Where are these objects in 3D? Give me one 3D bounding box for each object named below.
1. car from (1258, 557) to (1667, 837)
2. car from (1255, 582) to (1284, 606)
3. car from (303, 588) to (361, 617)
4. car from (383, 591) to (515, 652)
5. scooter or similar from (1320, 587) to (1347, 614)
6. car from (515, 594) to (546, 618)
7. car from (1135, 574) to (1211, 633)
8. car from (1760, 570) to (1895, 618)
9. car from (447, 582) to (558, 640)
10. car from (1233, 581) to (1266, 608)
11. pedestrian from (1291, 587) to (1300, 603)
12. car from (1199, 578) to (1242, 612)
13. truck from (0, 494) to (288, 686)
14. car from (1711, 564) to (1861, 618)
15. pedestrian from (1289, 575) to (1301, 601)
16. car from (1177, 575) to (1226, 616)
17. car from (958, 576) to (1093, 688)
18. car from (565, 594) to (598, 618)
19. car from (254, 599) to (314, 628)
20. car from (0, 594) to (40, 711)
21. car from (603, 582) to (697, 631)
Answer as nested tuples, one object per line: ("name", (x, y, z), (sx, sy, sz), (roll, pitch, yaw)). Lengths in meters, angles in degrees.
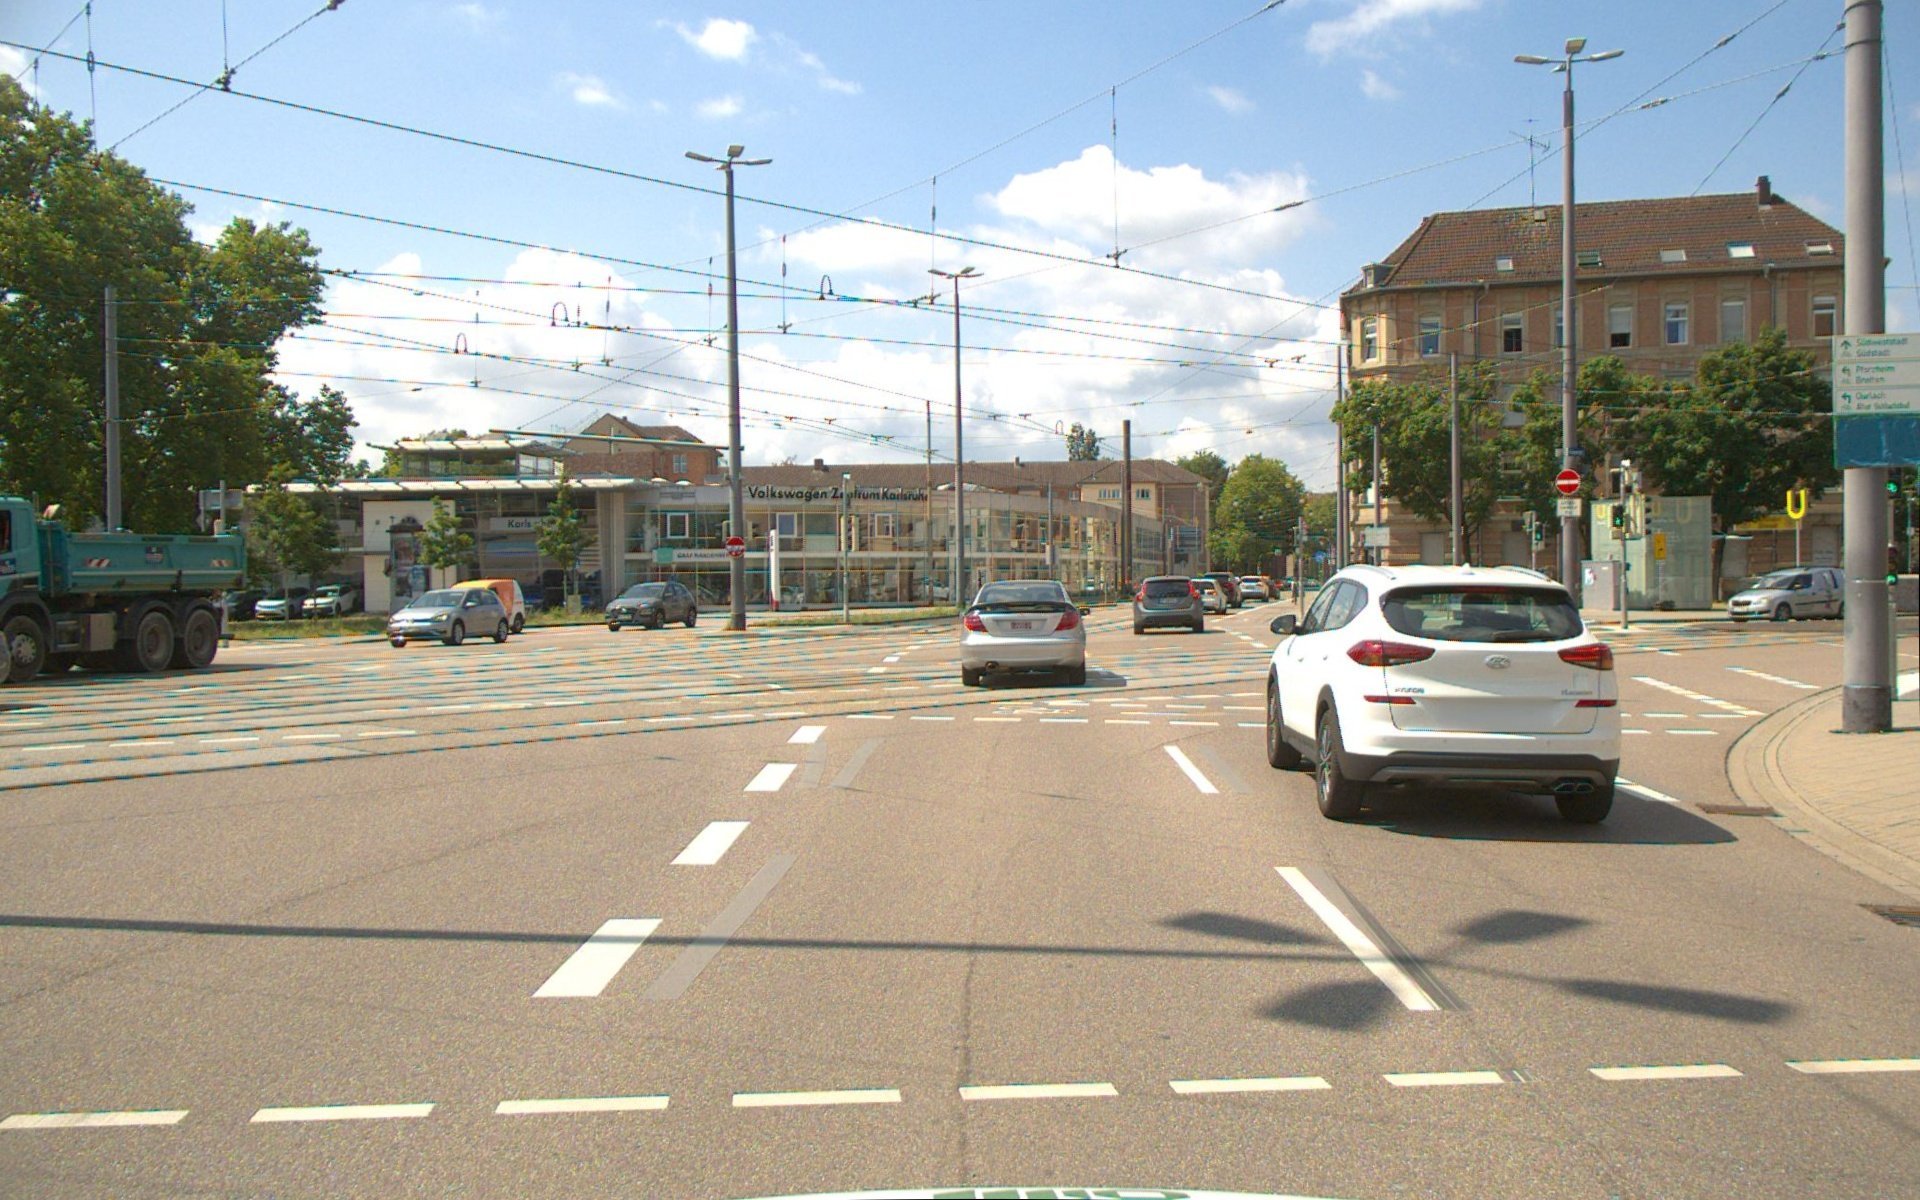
("car", (3.400, 0.569, 12.064), (1.842, 1.670, 4.234), (-1, 0, 2))
("car", (22.169, -0.454, 118.435), (1.841, 1.670, 3.960), (-1, 0, 14))
("car", (-35.559, 0.151, 93.824), (1.954, 1.601, 4.174), (0, -1, -5))
("car", (-13.095, 0.514, 42.675), (1.618, 1.459, 4.275), (-1, 0, 7))
("scooter or similar", (16.958, 0.023, 75.029), (1.506, 1.194, 0.377), (1, -2, -40))
("car", (-24.188, 0.362, 93.101), (1.621, 1.272, 3.983), (1, -1, -16))
("car", (5.490, 0.063, 42.827), (1.841, 1.444, 3.960), (-1, 0, 7))
("car", (28.299, -0.210, 53.957), (4.069, 1.499, 1.712), (-1, 0, -22))
("car", (-15.481, 0.334, 56.256), (1.681, 1.832, 4.745), (-2, 0, 11))
("car", (18.216, -0.364, 103.993), (1.841, 1.670, 3.960), (-1, 0, 13))
("pedestrian", (19.515, -0.295, 96.234), (0.513, 0.922, 1.562), (0, -1, 13))
("car", (13.138, -0.263, 83.406), (1.841, 1.670, 3.960), (-1, 0, 13))
("truck", (-15.397, -0.164, 28.742), (2.824, 2.902, 8.800), (-1, 0, 8))
("car", (24.383, -0.273, 48.836), (4.069, 1.499, 1.712), (-1, 0, -22))
("pedestrian", (19.498, -0.680, 96.291), (0.677, 1.483, 0.680), (0, -1, 13))
("car", (10.174, -0.207, 69.522), (1.841, 1.670, 3.960), (-1, 0, 11))
("car", (0.983, 0.398, 23.382), (1.705, 1.416, 4.182), (-1, 0, 4))
("car", (-21.221, 0.351, 92.716), (1.621, 1.272, 3.983), (1, -1, -16))
("car", (-38.322, 0.778, 93.881), (1.954, 1.601, 4.174), (0, -1, -5))
("car", (-12.633, 0.661, 18.596), (1.618, 1.416, 4.778), (-1, 0, 4))
("car", (-10.319, 0.200, 55.261), (1.681, 1.558, 4.125), (-1, 0, 11))
